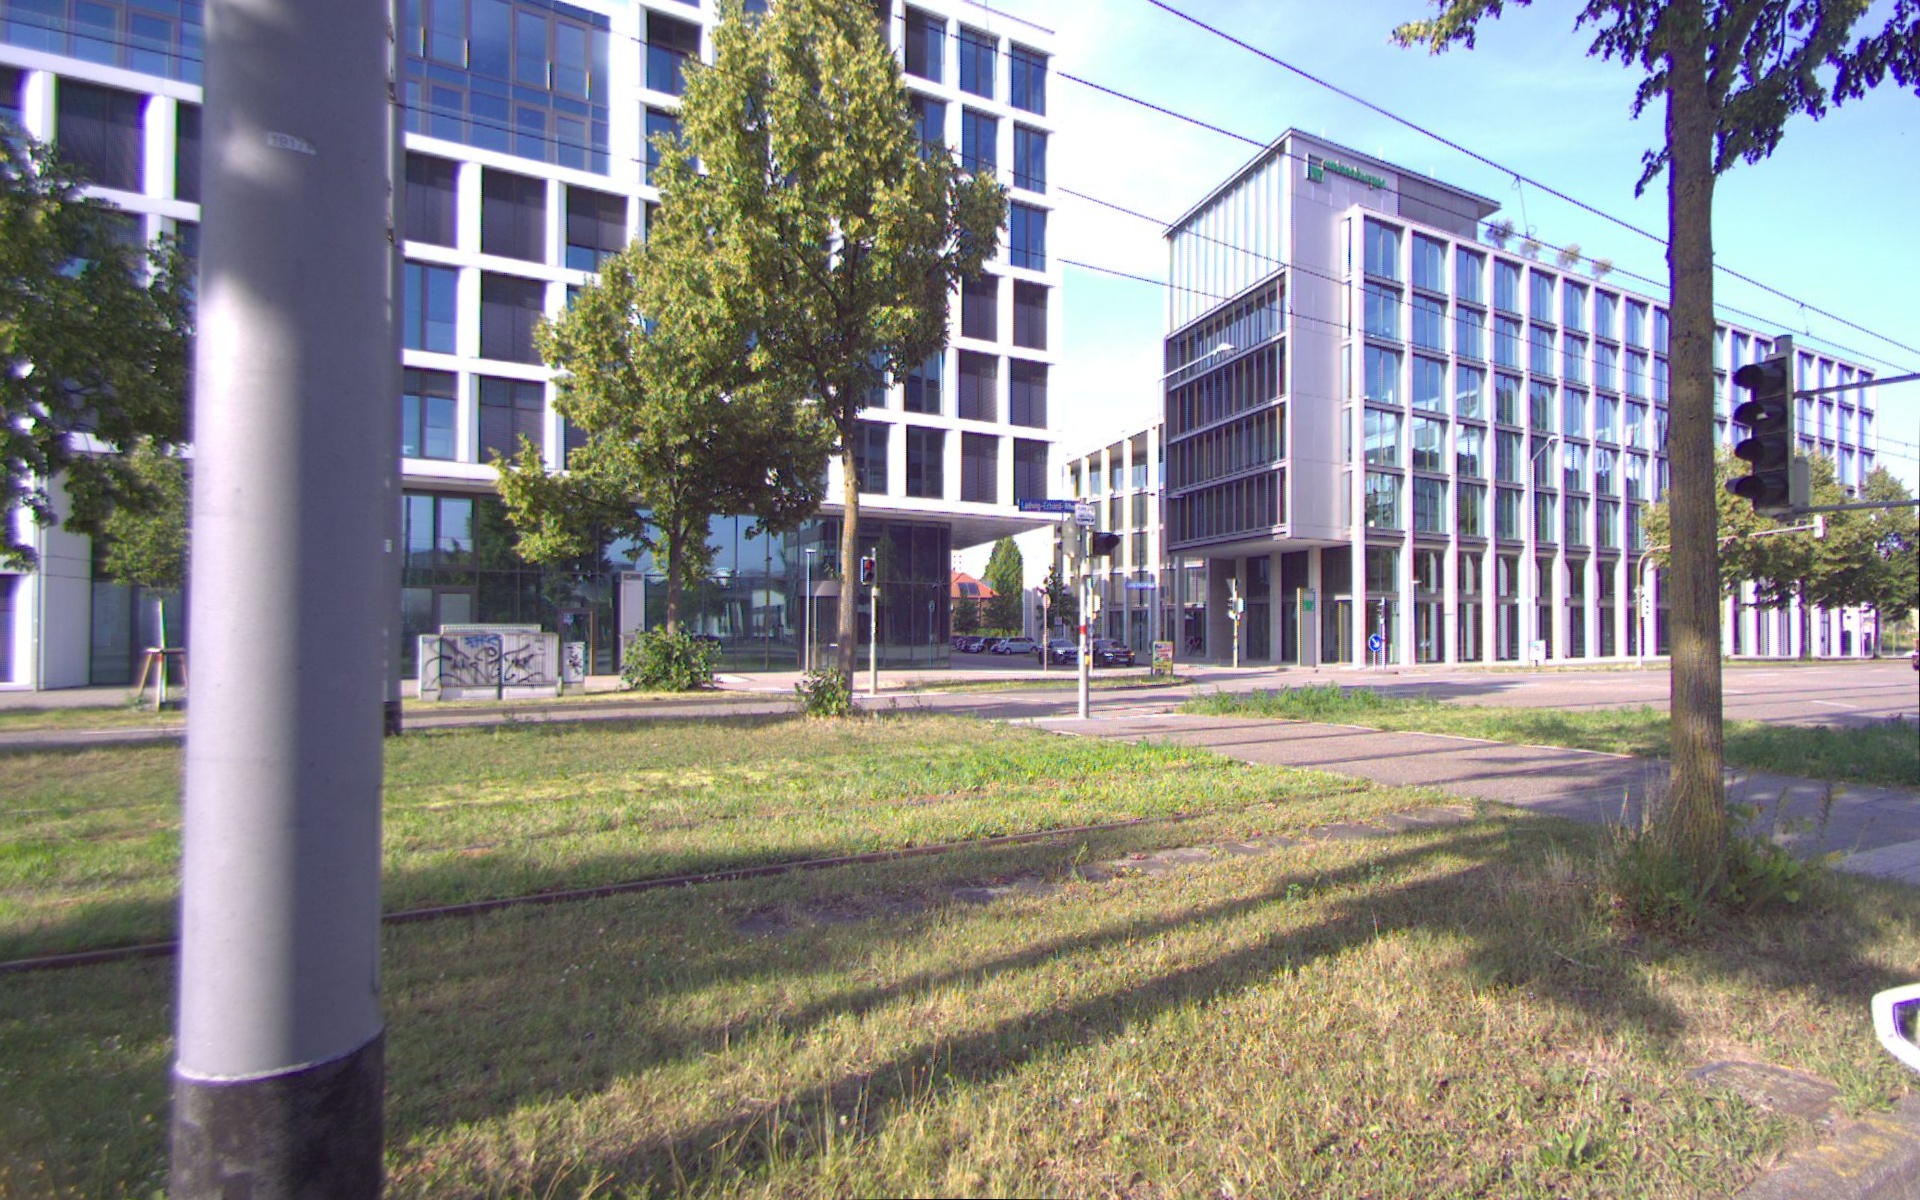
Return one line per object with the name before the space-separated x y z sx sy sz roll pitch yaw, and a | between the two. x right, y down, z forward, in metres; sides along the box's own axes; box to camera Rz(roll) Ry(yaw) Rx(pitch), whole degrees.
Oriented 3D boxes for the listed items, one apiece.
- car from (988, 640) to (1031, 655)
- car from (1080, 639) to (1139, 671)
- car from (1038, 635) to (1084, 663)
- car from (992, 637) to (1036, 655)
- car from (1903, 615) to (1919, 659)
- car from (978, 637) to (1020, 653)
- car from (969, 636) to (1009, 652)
car | 4.471 4.286 90.683 3.536 1.313 1.524 1 0 -14
car | 7.718 2.851 52.171 1.551 1.443 3.497 1 0 -19
car | 5.919 2.861 59.293 1.549 1.443 3.667 1 0 -14
car | 4.693 3.994 87.656 3.536 1.417 1.524 1 0 -14
car | 41.641 1.594 42.479 3.841 1.799 1.674 2 0 -33
car | 3.671 4.201 94.306 3.614 1.416 1.550 1 0 -14
car | 2.819 4.279 97.533 3.614 1.416 1.550 1 0 -14
